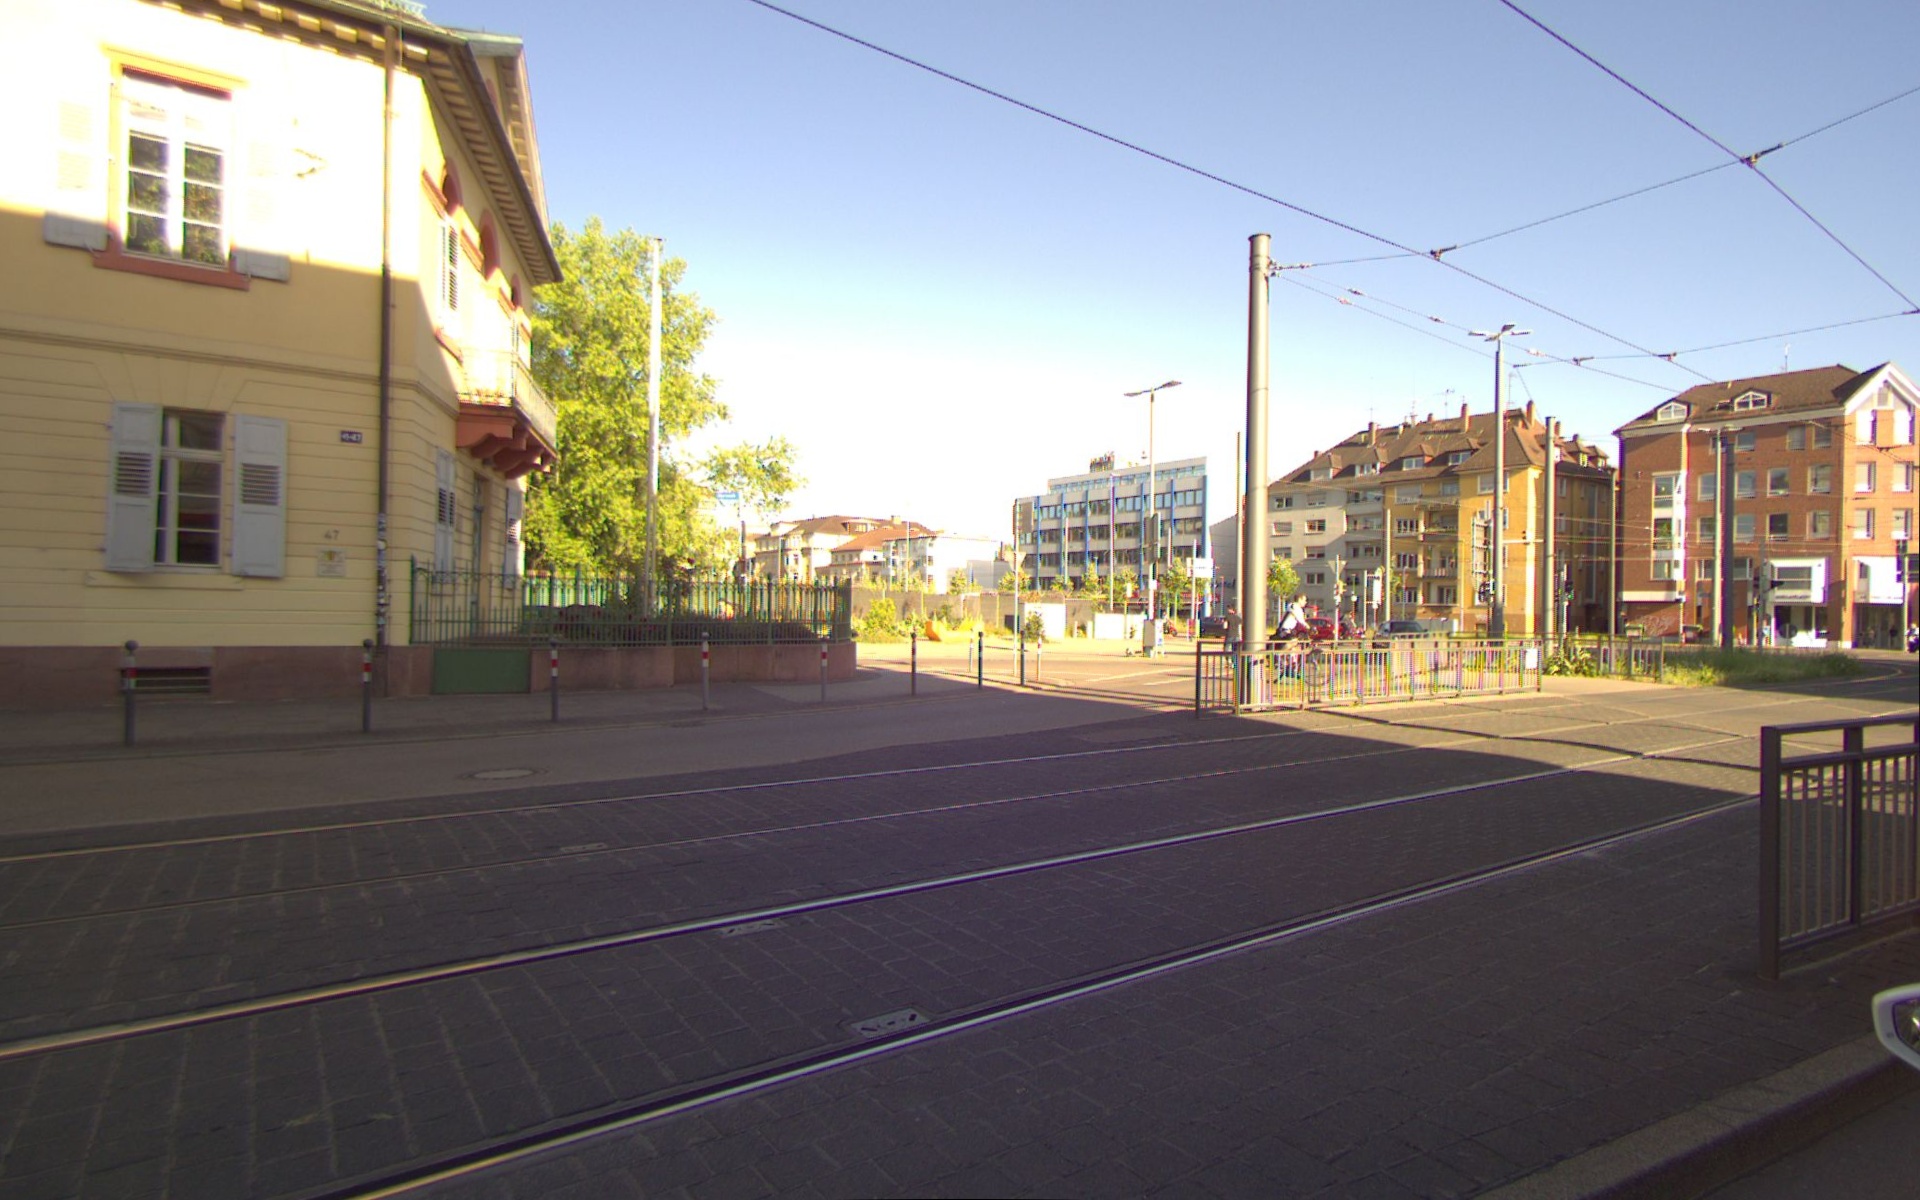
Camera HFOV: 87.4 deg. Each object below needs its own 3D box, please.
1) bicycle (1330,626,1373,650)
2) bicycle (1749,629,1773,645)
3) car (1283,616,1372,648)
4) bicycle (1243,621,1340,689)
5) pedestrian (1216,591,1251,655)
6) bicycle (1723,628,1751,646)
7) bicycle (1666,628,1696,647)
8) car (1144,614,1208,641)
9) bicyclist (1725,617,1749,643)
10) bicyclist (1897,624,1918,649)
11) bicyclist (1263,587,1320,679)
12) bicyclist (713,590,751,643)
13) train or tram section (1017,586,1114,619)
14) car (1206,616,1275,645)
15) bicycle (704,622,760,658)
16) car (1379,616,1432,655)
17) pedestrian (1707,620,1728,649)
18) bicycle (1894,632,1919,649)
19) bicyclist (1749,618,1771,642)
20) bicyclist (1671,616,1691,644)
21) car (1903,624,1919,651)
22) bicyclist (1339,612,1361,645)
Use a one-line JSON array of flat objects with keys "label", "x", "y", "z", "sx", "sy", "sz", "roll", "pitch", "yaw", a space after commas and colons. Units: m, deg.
[{"label": "bicycle", "x": 21.675, "y": 2.070, "z": 55.668, "sx": 0.542, "sy": 1.230, "sz": 2.168, "roll": 2, "pitch": 0, "yaw": -41}, {"label": "bicycle", "x": 50.363, "y": 2.331, "z": 63.144, "sx": 1.669, "sy": 0.994, "sz": 0.403, "roll": 2, "pitch": 0, "yaw": -22}, {"label": "car", "x": 21.866, "y": 1.879, "z": 59.893, "sx": 1.984, "sy": 1.723, "sz": 4.545, "roll": 2, "pitch": 0, "yaw": -41}, {"label": "bicycle", "x": 6.562, "y": 1.060, "z": 19.958, "sx": 0.481, "sy": 1.238, "sz": 1.834, "roll": 2, "pitch": 0, "yaw": -38}, {"label": "pedestrian", "x": 7.341, "y": 0.613, "z": 26.998, "sx": 0.759, "sy": 1.703, "sz": 0.592, "roll": 2, "pitch": 0, "yaw": 3}, {"label": "bicycle", "x": 45.534, "y": 2.160, "z": 58.872, "sx": 2.220, "sy": 0.984, "sz": 0.521, "roll": 2, "pitch": 0, "yaw": -31}, {"label": "bicycle", "x": 39.734, "y": 2.057, "z": 55.353, "sx": 2.220, "sy": 0.984, "sz": 0.444, "roll": 2, "pitch": 0, "yaw": -31}, {"label": "car", "x": 14.740, "y": 1.865, "z": 68.567, "sx": 1.895, "sy": 1.708, "sz": 3.916, "roll": 2, "pitch": 0, "yaw": -41}, {"label": "bicyclist", "x": 45.531, "y": 1.752, "z": 58.878, "sx": 0.688, "sy": 1.523, "sz": 0.894, "roll": 2, "pitch": 0, "yaw": -30}, {"label": "bicyclist", "x": 61.506, "y": 2.354, "z": 65.216, "sx": 0.737, "sy": 1.584, "sz": 0.781, "roll": 2, "pitch": 0, "yaw": -28}, {"label": "bicyclist", "x": 6.598, "y": 0.637, "z": 20.018, "sx": 0.752, "sy": 1.783, "sz": 0.745, "roll": 2, "pitch": 0, "yaw": -38}, {"label": "bicyclist", "x": -6.843, "y": 0.483, "z": 30.165, "sx": 1.022, "sy": 1.542, "sz": 0.392, "roll": 2, "pitch": 0, "yaw": 8}, {"label": "train or tram section", "x": 10.765, "y": 0.232, "z": 104.322, "sx": 2.783, "sy": 3.172, "sz": 11.133, "roll": 2, "pitch": 0, "yaw": -40}, {"label": "car", "x": 17.999, "y": 1.936, "z": 64.576, "sx": 1.762, "sy": 1.694, "sz": 3.955, "roll": 2, "pitch": 0, "yaw": -39}, {"label": "bicycle", "x": -6.849, "y": 1.192, "z": 30.170, "sx": 1.570, "sy": 1.007, "sz": 0.404, "roll": 2, "pitch": 0, "yaw": 8}, {"label": "car", "x": 19.404, "y": 1.503, "z": 43.653, "sx": 1.616, "sy": 1.546, "sz": 3.857, "roll": 2, "pitch": 0, "yaw": 31}, {"label": "pedestrian", "x": 48.898, "y": 2.222, "z": 64.824, "sx": 0.737, "sy": 1.845, "sz": 0.781, "roll": 2, "pitch": 0, "yaw": -28}, {"label": "bicycle", "x": 61.585, "y": 2.642, "z": 65.300, "sx": 2.197, "sy": 1.103, "sz": 0.535, "roll": 2, "pitch": 0, "yaw": -28}, {"label": "bicyclist", "x": 50.311, "y": 1.894, "z": 63.170, "sx": 0.958, "sy": 1.490, "sz": 0.702, "roll": 1, "pitch": 0, "yaw": -22}, {"label": "bicyclist", "x": 39.761, "y": 1.642, "z": 55.377, "sx": 0.688, "sy": 1.523, "sz": 0.630, "roll": 2, "pitch": 0, "yaw": -30}, {"label": "car", "x": 56.666, "y": 2.218, "z": 58.300, "sx": 3.987, "sy": 1.547, "sz": 1.703, "roll": 2, "pitch": 0, "yaw": -29}, {"label": "bicyclist", "x": 21.648, "y": 1.583, "z": 55.758, "sx": 0.785, "sy": 1.832, "sz": 0.892, "roll": 2, "pitch": 0, "yaw": -42}]
